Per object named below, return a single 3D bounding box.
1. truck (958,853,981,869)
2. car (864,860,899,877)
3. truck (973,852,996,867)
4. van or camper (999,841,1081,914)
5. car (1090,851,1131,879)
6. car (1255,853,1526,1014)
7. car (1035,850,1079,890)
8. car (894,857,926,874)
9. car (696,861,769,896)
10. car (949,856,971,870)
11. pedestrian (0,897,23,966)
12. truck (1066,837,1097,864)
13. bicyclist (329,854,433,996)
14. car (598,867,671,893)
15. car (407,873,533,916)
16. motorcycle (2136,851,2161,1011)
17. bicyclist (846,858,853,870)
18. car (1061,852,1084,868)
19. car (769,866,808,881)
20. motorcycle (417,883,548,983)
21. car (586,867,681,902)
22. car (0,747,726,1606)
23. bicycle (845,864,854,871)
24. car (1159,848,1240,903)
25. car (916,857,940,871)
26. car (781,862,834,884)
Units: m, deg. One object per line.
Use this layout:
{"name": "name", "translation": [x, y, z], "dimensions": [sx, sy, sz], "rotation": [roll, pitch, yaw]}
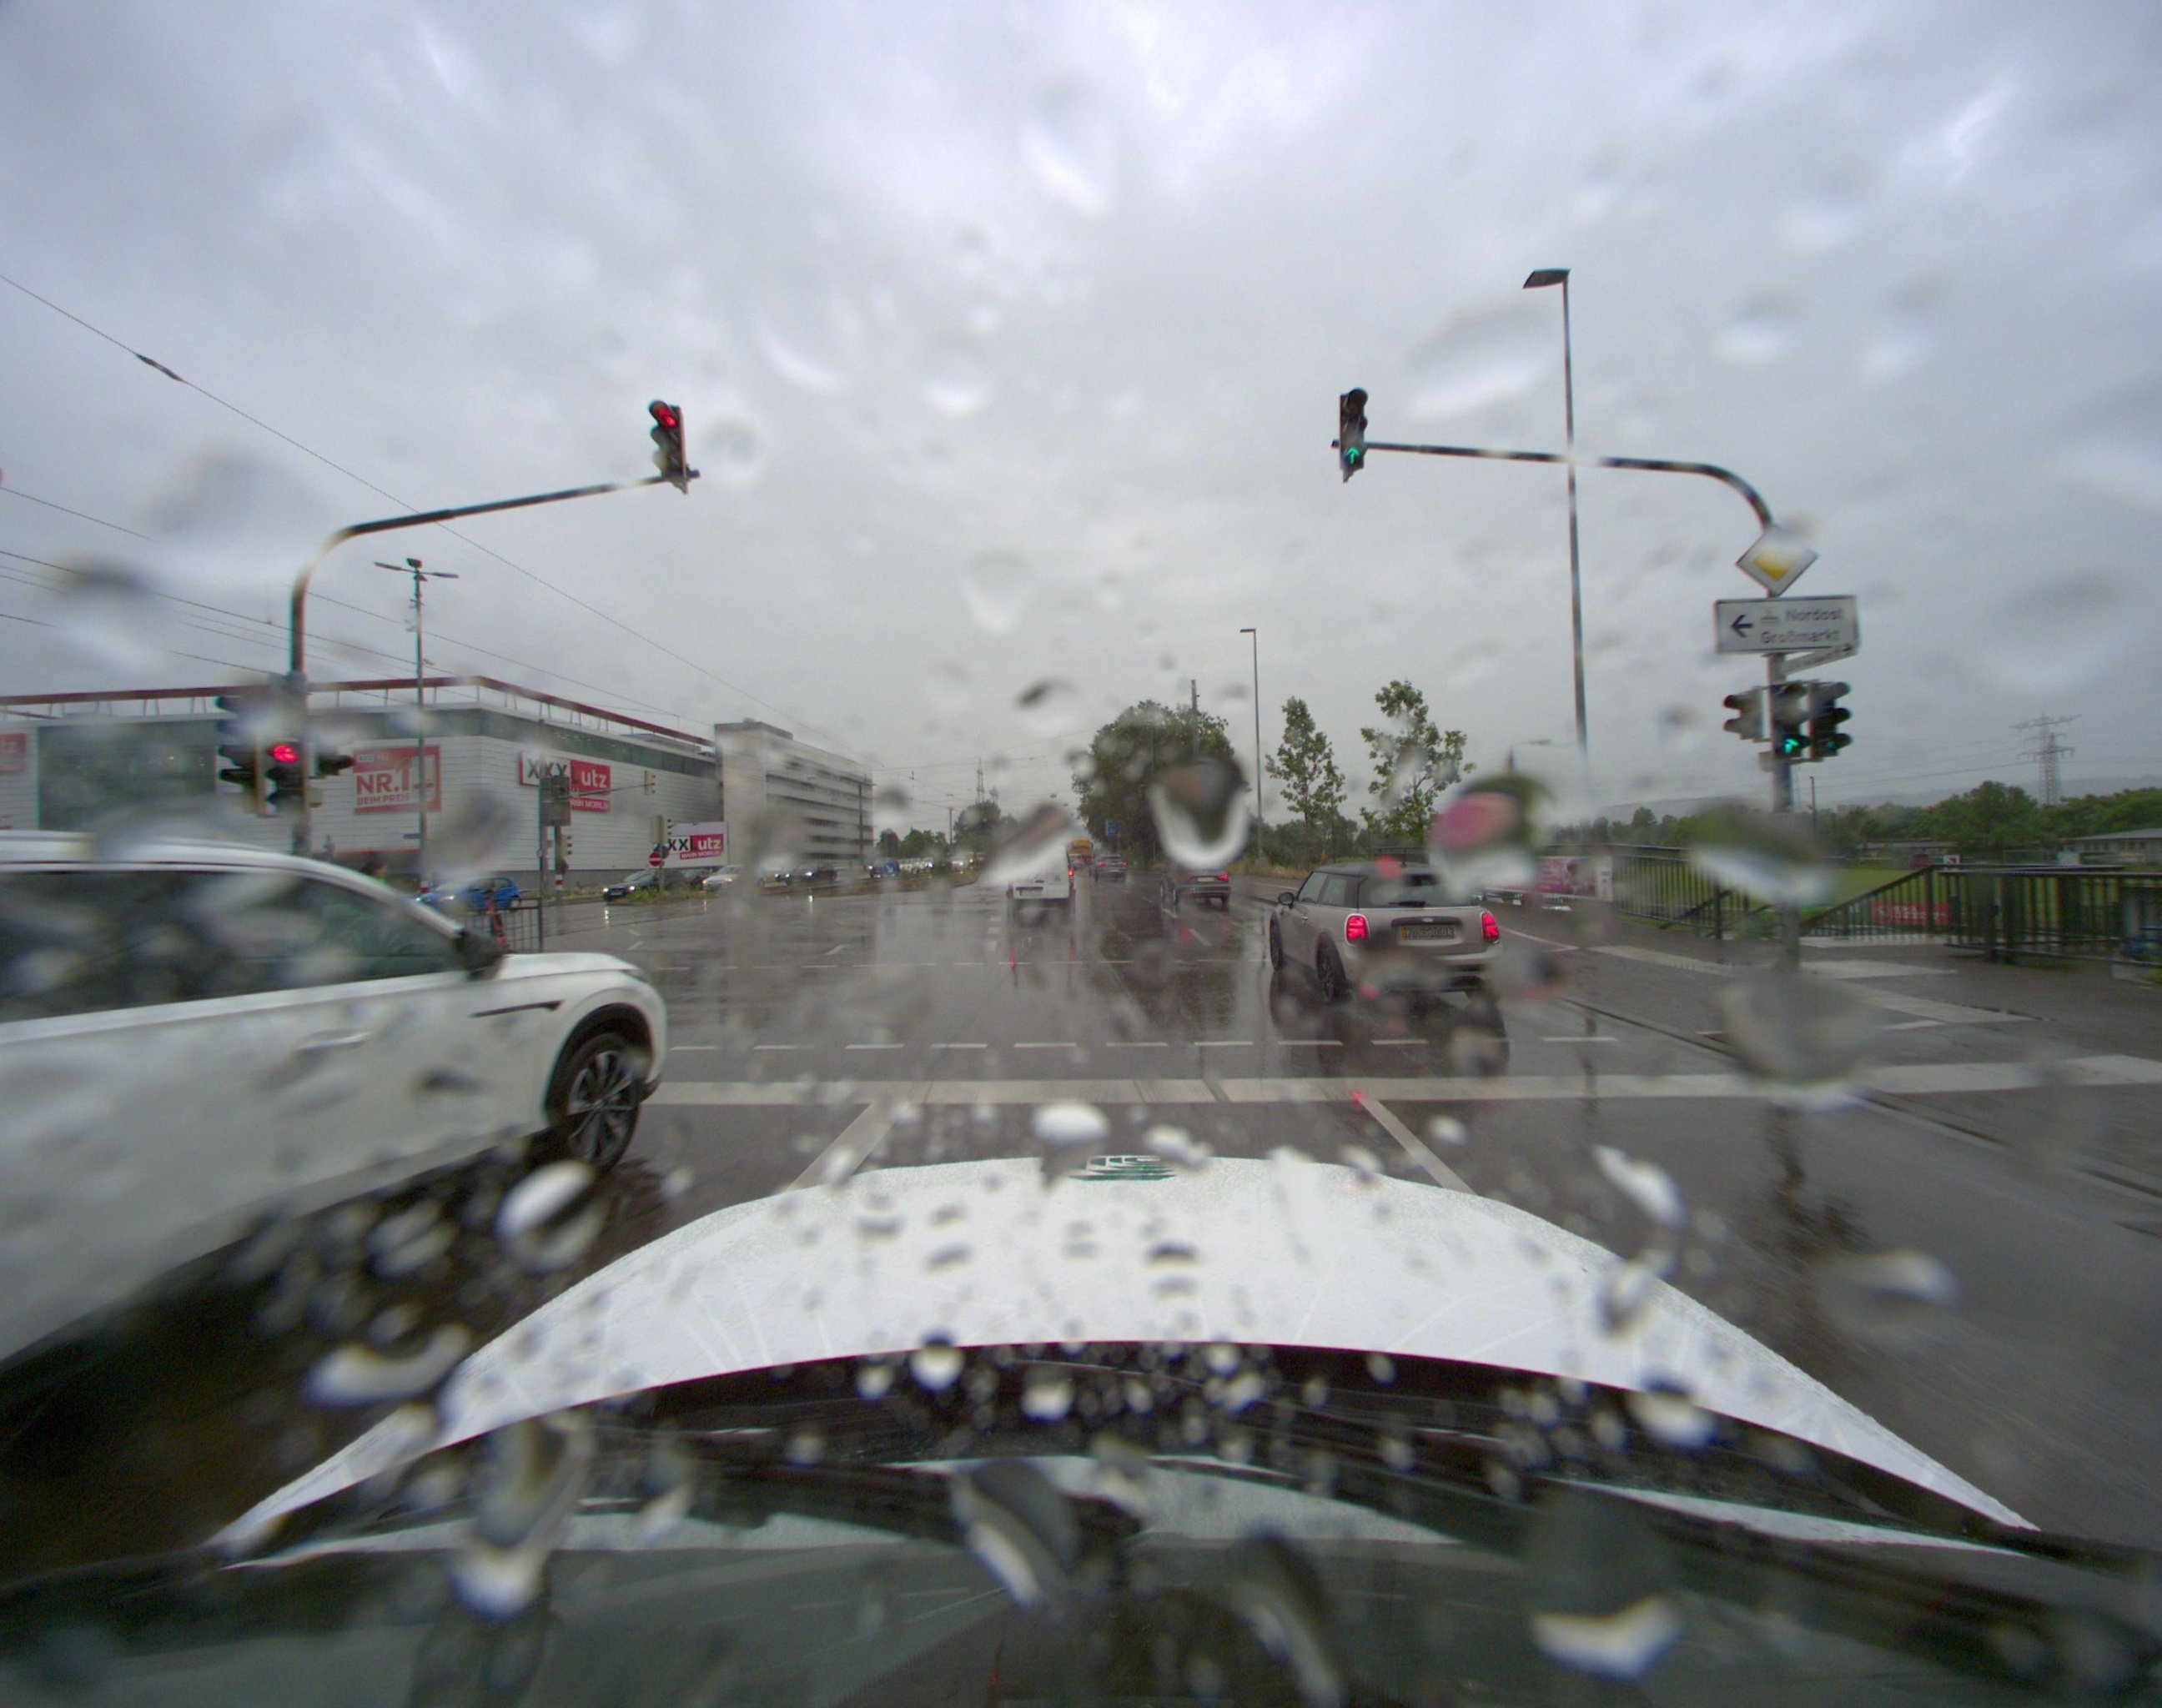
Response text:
{"name": "truck", "translation": [-17.694, 1.032, 129.203], "dimensions": [2.216, 2.462, 6.076], "rotation": [0, 0, 6]}
{"name": "car", "translation": [-17.228, 1.246, 70.501], "dimensions": [1.705, 1.249, 4.466], "rotation": [0, 1, 3]}
{"name": "truck", "translation": [-16.590, 0.934, 139.913], "dimensions": [2.423, 2.458, 7.230], "rotation": [0, 0, 6]}
{"name": "van or camper", "translation": [-1.020, 0.539, 21.968], "dimensions": [1.987, 1.784, 3.999], "rotation": [0, 1, 0]}
{"name": "car", "translation": [1.610, 0.596, 45.077], "dimensions": [1.815, 1.414, 3.772], "rotation": [-1, 1, -5]}
{"name": "car", "translation": [3.266, 0.733, 9.440], "dimensions": [1.784, 1.414, 3.856], "rotation": [-1, 1, 2]}
{"name": "car", "translation": [-1.174, 0.707, 38.428], "dimensions": [1.895, 1.716, 4.721], "rotation": [-1, 1, -3]}
{"name": "car", "translation": [-16.230, 1.086, 77.332], "dimensions": [1.703, 1.535, 4.056], "rotation": [0, 1, 7]}
{"name": "car", "translation": [-19.135, 1.309, 44.949], "dimensions": [1.703, 1.708, 4.437], "rotation": [0, 1, 6]}
{"name": "car", "translation": [-15.353, 1.154, 103.226], "dimensions": [1.865, 1.573, 4.333], "rotation": [0, 1, 4]}
{"name": "pedestrian", "translation": [-32.296, 2.313, 24.172], "dimensions": [0.776, 2.014, 0.862], "rotation": [-1, -1, 19]}
{"name": "truck", "translation": [0.084, -0.410, 89.110], "dimensions": [3.101, 2.773, 6.332], "rotation": [-1, 0, 2]}
{"name": "bicyclist", "translation": [-8.897, 0.874, 10.380], "dimensions": [0.615, 1.731, 0.793], "rotation": [0, 1, -1]}
{"name": "car", "translation": [-24.990, 1.447, 45.721], "dimensions": [1.573, 1.249, 3.923], "rotation": [0, 1, 7]}
{"name": "car", "translation": [-23.448, 1.509, 31.448], "dimensions": [1.573, 1.414, 3.923], "rotation": [0, 1, 7]}
{"name": "motorcycle", "translation": [8.379, 0.588, 5.566], "dimensions": [0.627, 1.218, 1.453], "rotation": [-3, 0, 13]}
{"name": "bicyclist", "translation": [-30.466, 1.301, 107.150], "dimensions": [0.668, 1.589, 0.792], "rotation": [0, 0, 2]}
{"name": "car", "translation": [-0.748, 0.528, 74.080], "dimensions": [1.811, 1.414, 3.781], "rotation": [-1, 1, 3]}
{"name": "car", "translation": [-27.112, 1.774, 75.551], "dimensions": [1.703, 1.249, 4.056], "rotation": [0, 1, 7]}
{"name": "motorcycle", "translation": [-8.369, 1.067, 11.448], "dimensions": [0.522, 1.221, 1.409], "rotation": [1, 1, 22]}
{"name": "car", "translation": [-20.236, 1.352, 37.010], "dimensions": [1.573, 1.366, 4.210], "rotation": [0, 1, 7]}
{"name": "car", "translation": [-3.214, 0.672, 2.665], "dimensions": [1.981, 1.788, 4.555], "rotation": [0, 0, 2]}
{"name": "bicycle", "translation": [-30.467, 1.774, 107.109], "dimensions": [0.666, 1.016, 1.556], "rotation": [0, 0, 2]}
{"name": "car", "translation": [3.582, 0.598, 25.292], "dimensions": [1.961, 1.528, 3.991], "rotation": [-1, 1, 0]}
{"name": "car", "translation": [-18.872, 1.222, 100.693], "dimensions": [1.900, 1.606, 4.844], "rotation": [1, 1, 1]}
{"name": "car", "translation": [-17.817, 1.231, 53.239], "dimensions": [1.703, 1.249, 4.056], "rotation": [0, 1, 7]}
